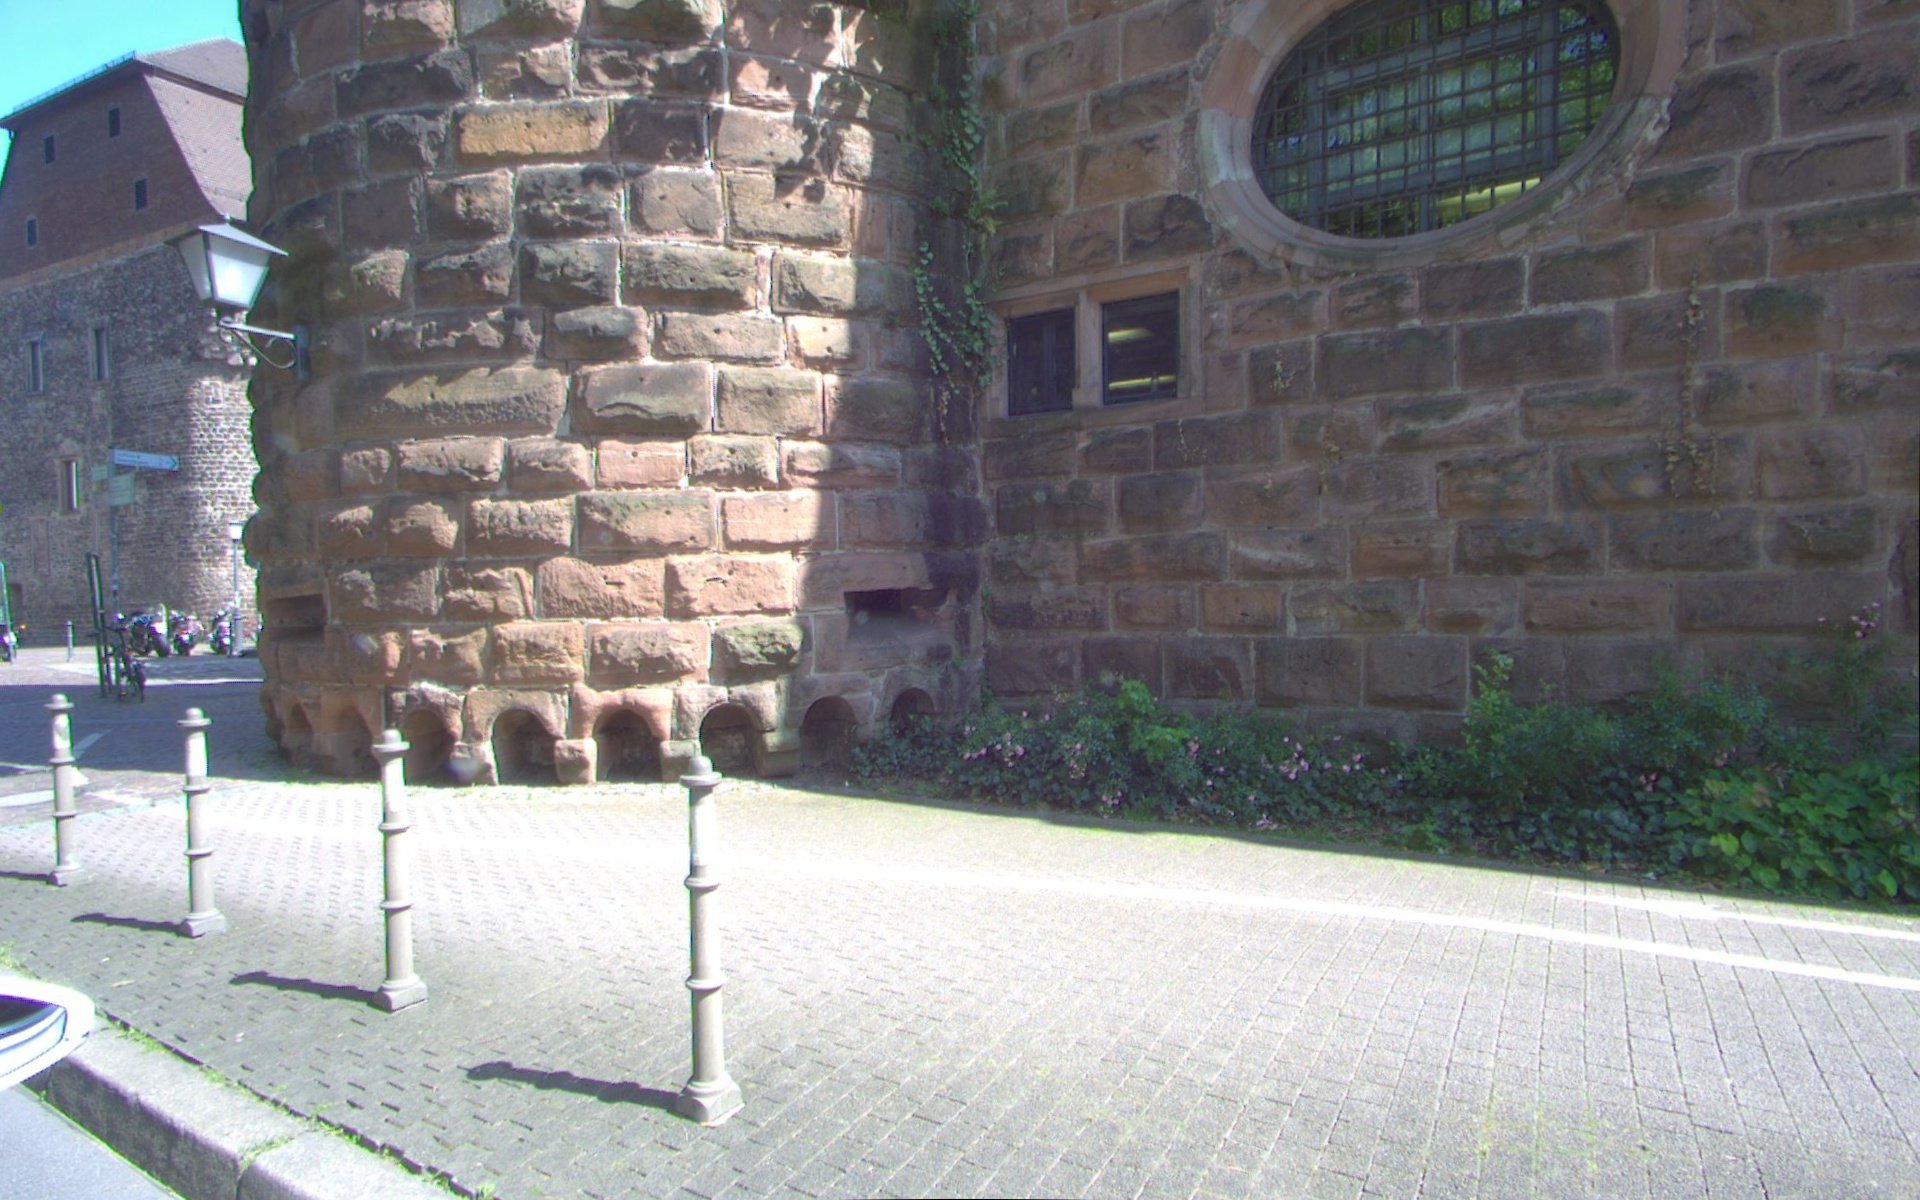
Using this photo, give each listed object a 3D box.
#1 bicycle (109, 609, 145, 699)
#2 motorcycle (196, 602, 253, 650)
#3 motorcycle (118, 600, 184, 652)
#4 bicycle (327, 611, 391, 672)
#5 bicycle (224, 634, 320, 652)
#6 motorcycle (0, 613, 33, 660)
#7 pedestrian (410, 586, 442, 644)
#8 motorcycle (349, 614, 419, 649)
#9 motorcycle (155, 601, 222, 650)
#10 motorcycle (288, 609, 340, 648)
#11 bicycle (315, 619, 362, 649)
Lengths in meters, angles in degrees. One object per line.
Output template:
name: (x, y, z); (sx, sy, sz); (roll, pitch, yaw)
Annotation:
bicycle: (-12.043, 0.753, 14.468); (1.750, 1.220, 0.192); (0, 1, 44)
motorcycle: (-19.942, 0.719, 27.146); (2.002, 1.251, 0.545); (-1, -2, 32)
motorcycle: (-20.608, 0.676, 25.487); (2.169, 1.282, 0.654); (-1, -1, 32)
bicycle: (-11.942, 0.803, 19.873); (1.707, 1.178, 0.445); (0, 1, 36)
bicycle: (-17.579, 1.091, 25.598); (1.916, 0.386, 0.909); (0, -2, -44)
motorcycle: (-22.153, 0.822, 23.034); (2.453, 1.026, 0.565); (0, 1, 32)
pedestrian: (-19.194, 0.546, 35.983); (0.869, 2.039, 0.725); (1, -2, -43)
motorcycle: (-18.045, 0.975, 31.387); (0.474, 1.067, 1.858); (-1, -2, 40)
motorcycle: (-20.375, 0.675, 26.433); (2.280, 1.251, 0.674); (-1, -2, 32)
motorcycle: (-18.142, 0.810, 28.114); (1.814, 1.087, 0.506); (-1, -2, 32)
bicycle: (-18.391, 0.995, 29.623); (1.898, 0.831, 0.353); (0, -1, 32)
